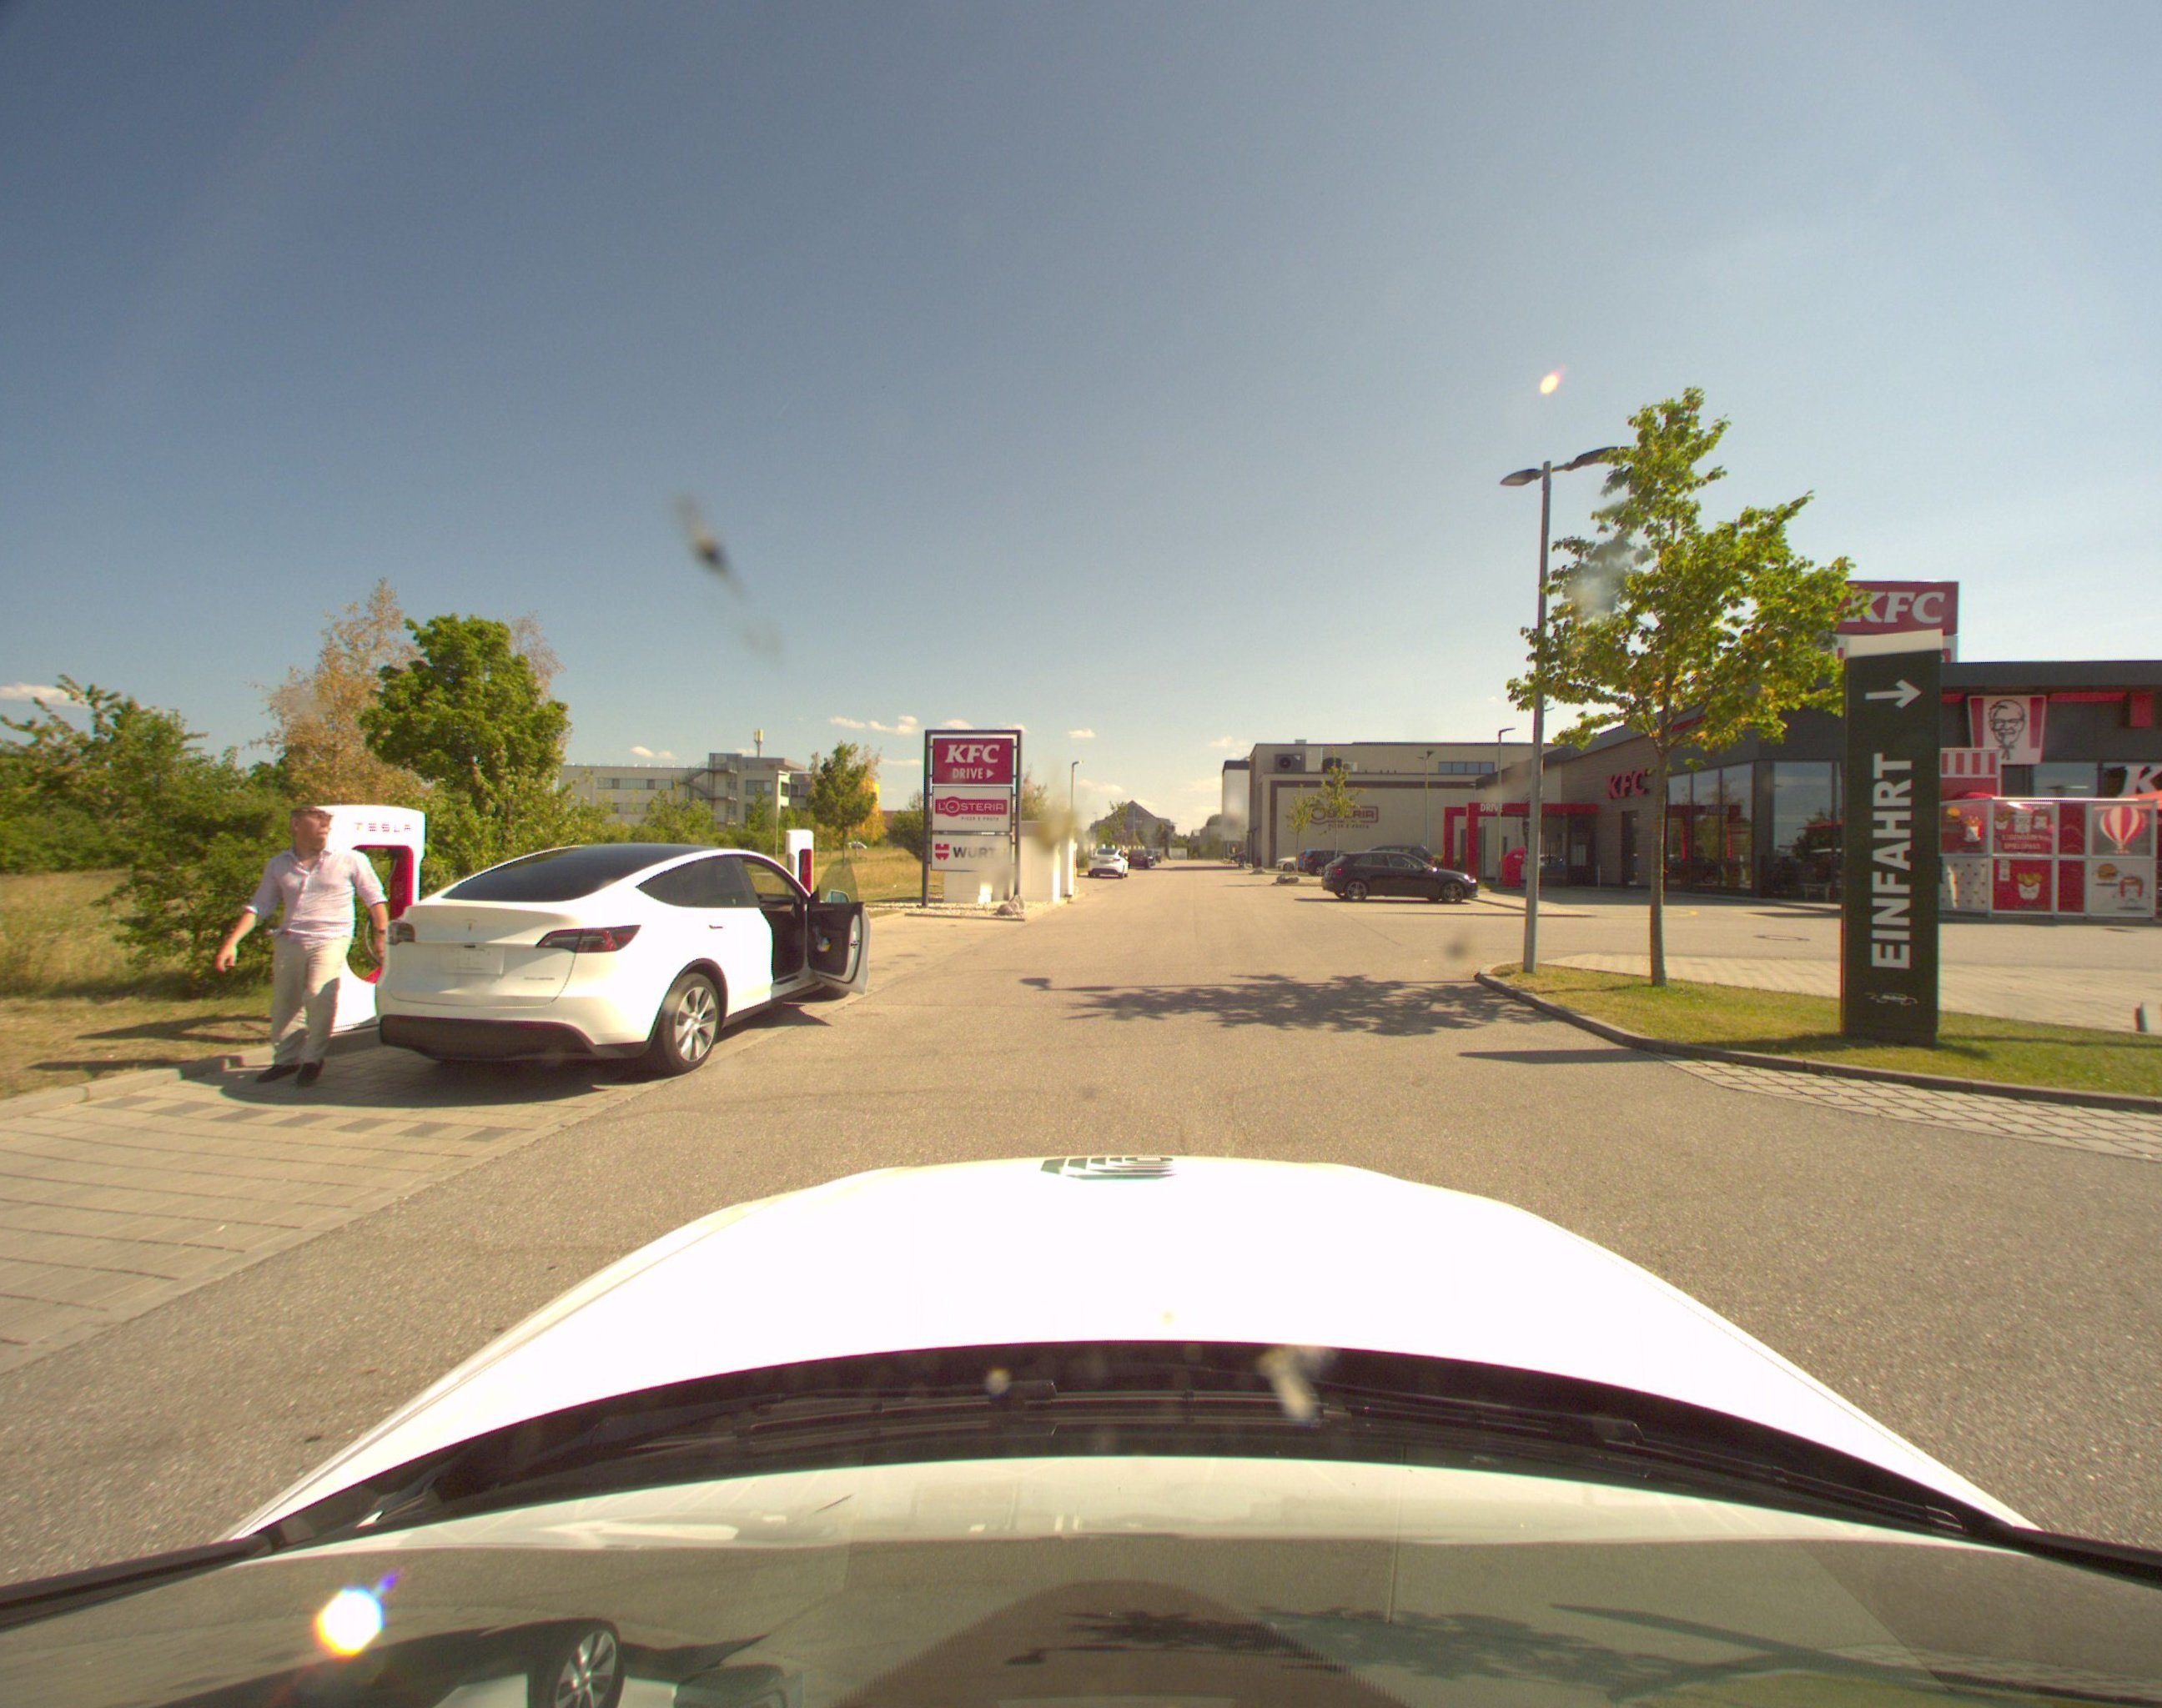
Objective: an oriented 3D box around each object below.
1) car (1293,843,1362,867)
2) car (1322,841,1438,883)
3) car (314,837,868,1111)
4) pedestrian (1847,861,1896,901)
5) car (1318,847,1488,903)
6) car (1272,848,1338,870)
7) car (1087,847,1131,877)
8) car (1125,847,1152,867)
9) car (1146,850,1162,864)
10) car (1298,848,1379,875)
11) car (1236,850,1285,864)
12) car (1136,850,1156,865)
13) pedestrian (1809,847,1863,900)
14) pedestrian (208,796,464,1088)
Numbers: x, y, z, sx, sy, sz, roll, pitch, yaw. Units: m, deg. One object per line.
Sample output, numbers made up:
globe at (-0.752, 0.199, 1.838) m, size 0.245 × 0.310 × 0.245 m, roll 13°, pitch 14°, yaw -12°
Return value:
car at (15.638, 0.069, 51.772) m, size 3.969 × 1.420 × 1.653 m, roll 1°, pitch 0°, yaw 4°
car at (12.690, 0.312, 34.765) m, size 4.352 × 1.685 × 1.643 m, roll 1°, pitch 0°, yaw 2°
car at (-3.551, 0.698, 7.132) m, size 1.855 × 1.600 × 4.494 m, roll 1°, pitch 0°, yaw 4°
pedestrian at (21.538, 0.723, 22.195) m, size 0.712 × 1.071 × 0.630 m, roll 0°, pitch 0°, yaw 5°
car at (9.013, 0.560, 23.085) m, size 4.178 × 1.441 × 1.702 m, roll 1°, pitch 0°, yaw 6°
car at (14.946, 0.330, 54.478) m, size 3.969 × 1.420 × 1.653 m, roll 1°, pitch 0°, yaw 4°
car at (1.621, 0.413, 45.402) m, size 1.933 × 1.568 × 4.011 m, roll 1°, pitch 0°, yaw 9°
car at (4.750, 0.250, 66.560) m, size 1.934 × 1.568 × 4.009 m, roll 1°, pitch 0°, yaw 8°
car at (8.558, 0.304, 95.347) m, size 1.734 × 1.568 × 4.007 m, roll 1°, pitch 0°, yaw 6°
car at (14.114, 0.390, 44.810) m, size 3.969 × 1.420 × 1.653 m, roll 1°, pitch 0°, yaw 4°
car at (15.664, 0.228, 71.165) m, size 3.967 × 1.156 × 2.004 m, roll 0°, pitch 1°, yaw 6°
car at (6.301, 0.317, 78.528) m, size 1.734 × 1.387 × 4.007 m, roll 1°, pitch 0°, yaw 6°
pedestrian at (20.700, 0.526, 22.339) m, size 0.793 × 1.435 × 0.773 m, roll 0°, pitch 0°, yaw 5°
pedestrian at (-5.047, 0.536, 5.594) m, size 0.730 × 1.800 × 1.038 m, roll 1°, pitch 0°, yaw 9°
